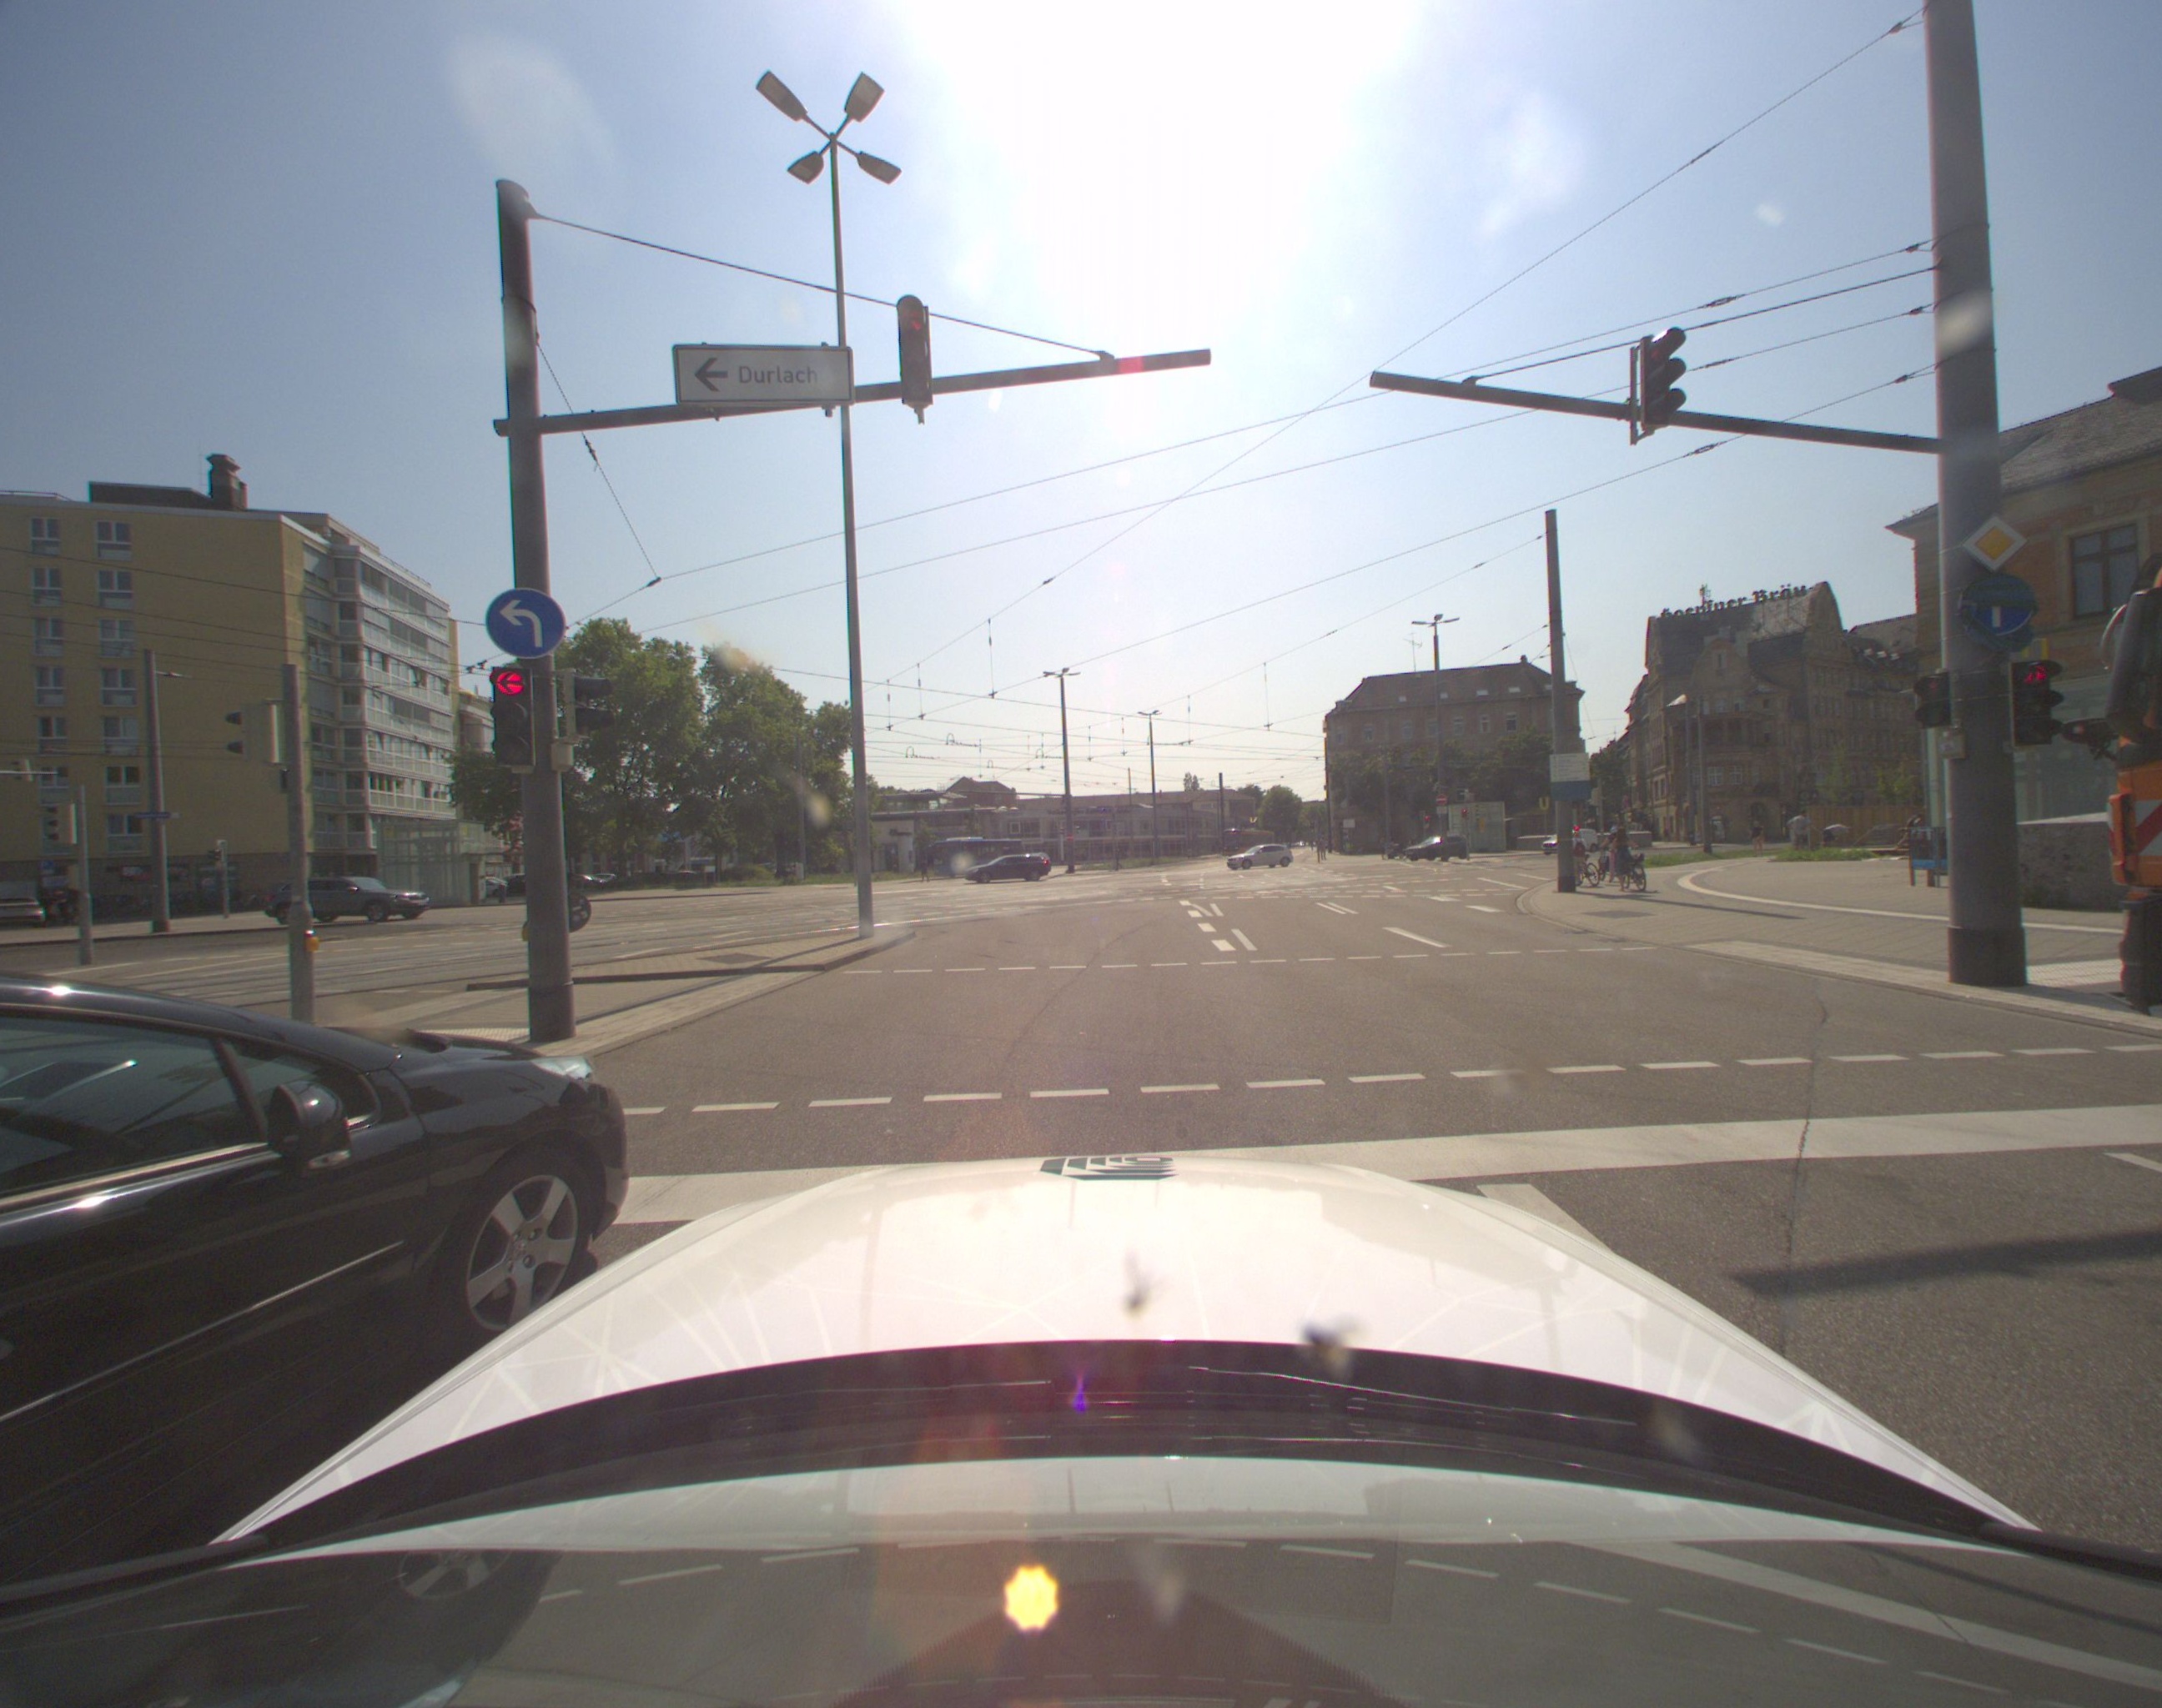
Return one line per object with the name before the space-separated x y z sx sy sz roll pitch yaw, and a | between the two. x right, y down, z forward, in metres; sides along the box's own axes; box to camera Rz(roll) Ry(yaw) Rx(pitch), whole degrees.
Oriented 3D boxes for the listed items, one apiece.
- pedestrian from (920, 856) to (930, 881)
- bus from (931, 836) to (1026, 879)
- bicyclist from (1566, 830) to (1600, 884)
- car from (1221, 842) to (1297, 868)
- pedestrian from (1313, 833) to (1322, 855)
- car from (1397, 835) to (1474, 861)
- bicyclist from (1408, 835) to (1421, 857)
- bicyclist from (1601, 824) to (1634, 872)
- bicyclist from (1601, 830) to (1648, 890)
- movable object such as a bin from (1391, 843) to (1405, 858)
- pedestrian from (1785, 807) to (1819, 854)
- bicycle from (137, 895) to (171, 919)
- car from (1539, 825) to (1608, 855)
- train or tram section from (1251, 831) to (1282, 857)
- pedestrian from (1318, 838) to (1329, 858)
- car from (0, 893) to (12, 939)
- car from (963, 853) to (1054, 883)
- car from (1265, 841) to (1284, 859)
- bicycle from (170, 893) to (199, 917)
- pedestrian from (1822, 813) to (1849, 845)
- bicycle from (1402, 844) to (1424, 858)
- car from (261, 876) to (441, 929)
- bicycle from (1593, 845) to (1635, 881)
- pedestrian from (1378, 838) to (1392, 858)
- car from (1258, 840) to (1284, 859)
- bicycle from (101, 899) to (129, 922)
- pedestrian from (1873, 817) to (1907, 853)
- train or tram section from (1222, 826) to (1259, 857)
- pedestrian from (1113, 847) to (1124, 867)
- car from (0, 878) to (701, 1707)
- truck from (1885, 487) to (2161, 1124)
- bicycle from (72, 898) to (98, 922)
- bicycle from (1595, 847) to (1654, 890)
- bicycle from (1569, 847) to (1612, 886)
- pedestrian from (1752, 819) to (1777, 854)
pedestrian | -10.817 0.987 56.553 0.554 1.684 0.451 -2 0 -17
bus | -8.127 0.207 66.994 2.541 3.082 12.082 -3 0 19
bicyclist | 14.595 0.080 23.692 0.623 1.517 0.715 -2 0 14
car | 10.911 0.064 49.997 4.201 1.415 1.765 -2 0 -19
pedestrian | 33.727 -1.395 116.027 0.978 3.017 0.977 -2 0 7
car | 23.760 -0.411 54.613 4.624 1.505 1.987 -2 0 -19
bicyclist | 24.448 -0.576 59.661 0.614 1.528 0.517 -2 0 -22
bicyclist | 16.240 -0.184 24.656 0.526 1.393 0.897 -2 0 14
bicyclist | 14.100 0.146 21.146 0.730 1.517 0.665 -2 0 6
movable object such as a bin | 24.040 -0.270 61.798 0.812 1.077 0.510 -2 0 -9
pedestrian | 27.123 -0.865 30.635 0.549 1.724 0.812 -2 0 -39
bicycle | -50.537 2.901 44.395 3.220 1.204 0.916 -3 0 36
car | 35.920 -1.026 59.403 4.633 2.013 1.983 -2 0 -25
train or tram section | 27.770 -1.473 121.723 2.566 3.516 13.040 -2 0 21
pedestrian | 20.090 -0.525 67.468 0.699 1.603 0.572 -2 0 -6
car | -39.337 2.218 27.256 4.195 1.560 1.733 -2 0 -10
car | -4.032 0.737 45.142 4.766 1.415 1.765 -2 0 -18
car | 17.943 -0.364 75.470 1.625 1.618 4.016 -2 0 14
bicycle | -49.301 2.794 44.758 3.220 1.204 0.699 -3 0 36
pedestrian | 29.633 -0.972 31.998 0.658 1.214 0.531 -2 0 30
bicycle | 24.391 -0.215 59.836 0.470 1.055 1.643 -2 0 -18
car | -26.216 1.702 29.392 4.527 1.600 1.766 -2 0 -9
bicycle | 16.364 0.255 25.027 0.532 1.055 1.660 -2 0 14
pedestrian | 23.173 -0.450 62.088 0.849 1.545 0.527 -2 0 -6
car | 15.468 -0.375 66.278 1.756 1.415 4.207 -2 0 17
bicycle | -52.110 3.036 43.927 3.220 1.204 0.699 -3 0 36
pedestrian | 31.934 -0.748 32.147 0.768 1.399 0.687 -2 0 -23
train or tram section | 20.064 -1.545 101.675 2.566 3.516 10.955 -2 0 21
pedestrian | 2.738 0.201 59.171 0.678 1.443 0.364 -2 0 -15
car | -2.660 0.812 1.579 1.757 1.388 3.787 -1 0 6
truck | 6.414 -0.262 1.936 2.481 3.134 6.869 -2 0 4
bicycle | -53.213 2.957 43.510 2.754 1.204 0.699 -3 0 36
bicycle | 14.133 0.346 21.230 0.489 1.055 1.826 -2 0 7
bicycle | 14.575 0.331 23.344 0.532 1.055 1.660 -2 0 14
pedestrian | 31.064 -0.802 37.015 0.794 1.575 0.729 -2 0 -44
